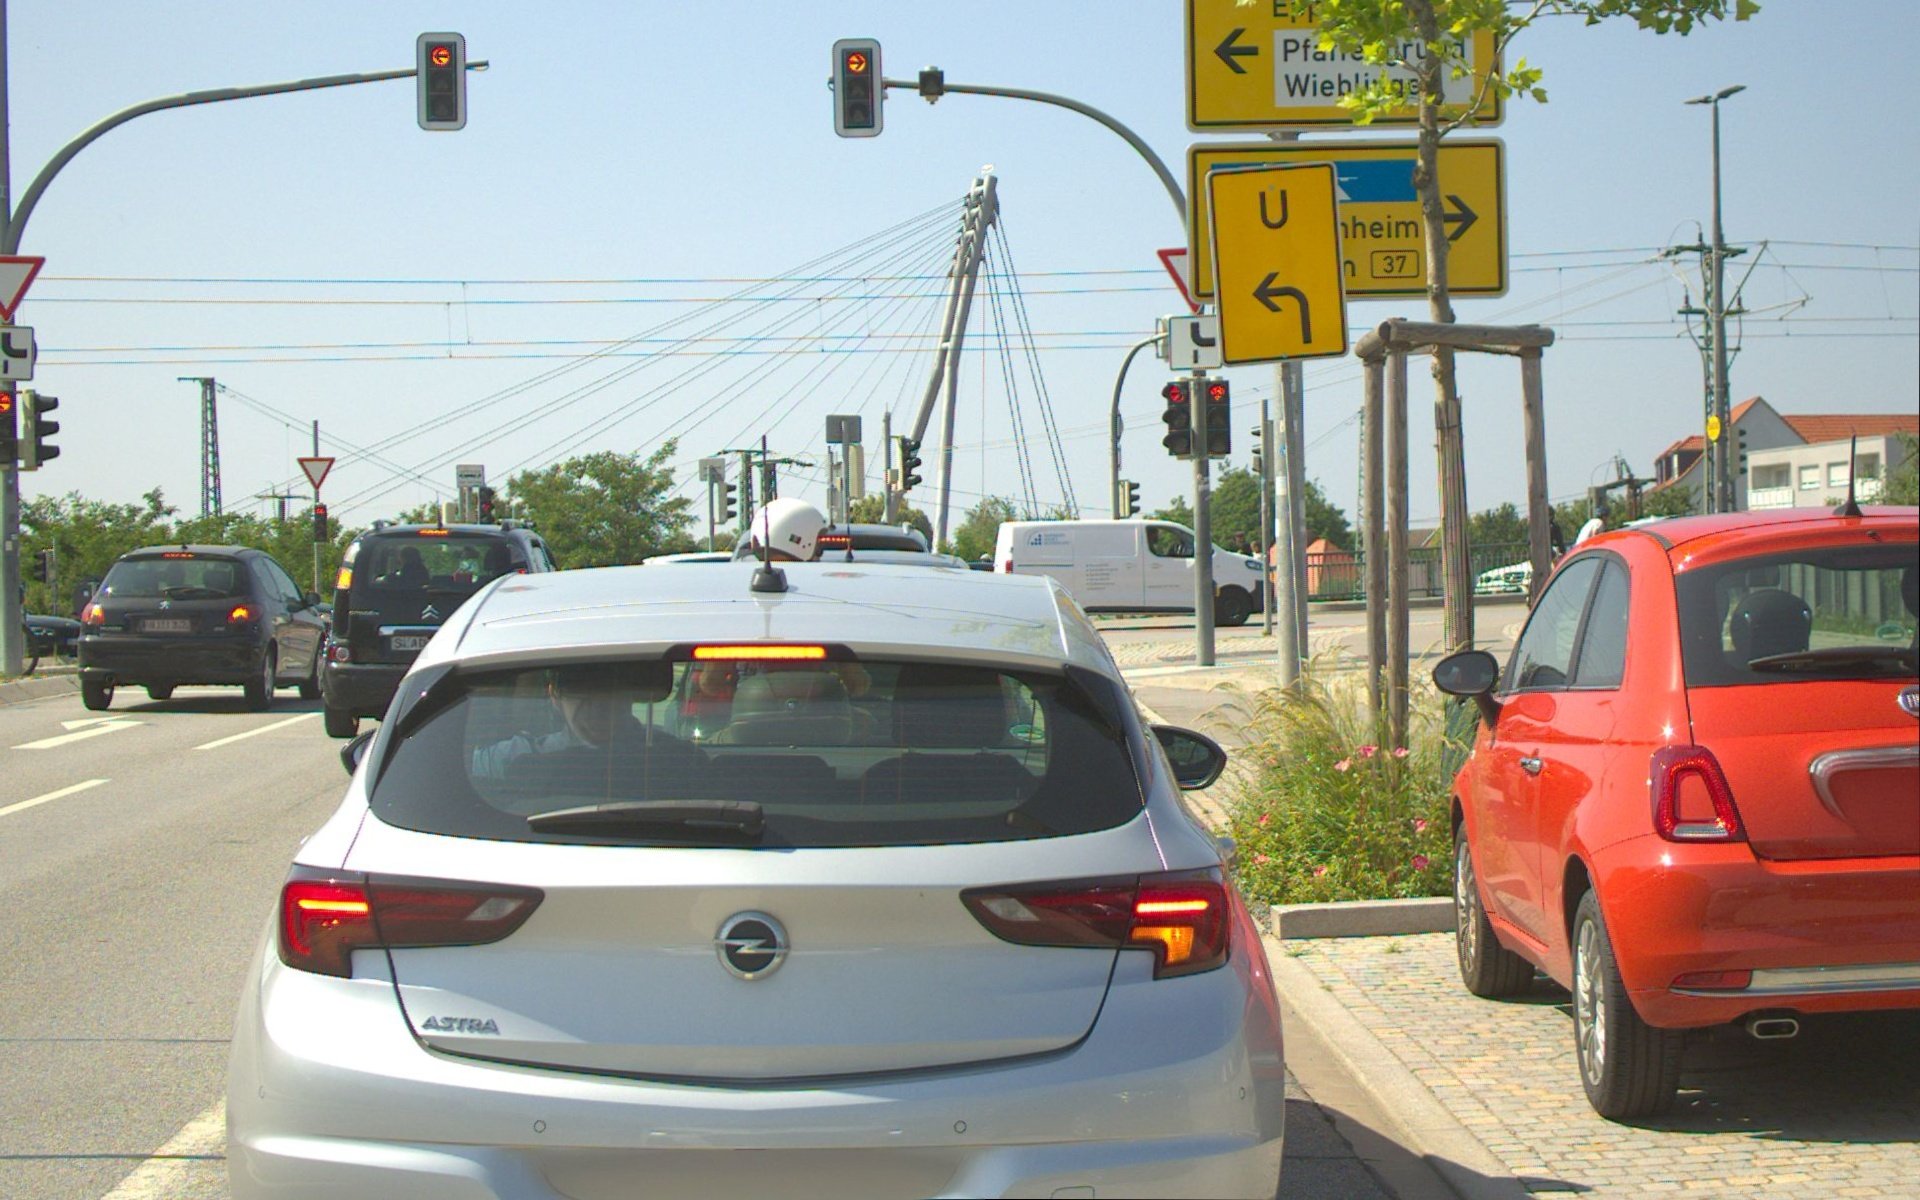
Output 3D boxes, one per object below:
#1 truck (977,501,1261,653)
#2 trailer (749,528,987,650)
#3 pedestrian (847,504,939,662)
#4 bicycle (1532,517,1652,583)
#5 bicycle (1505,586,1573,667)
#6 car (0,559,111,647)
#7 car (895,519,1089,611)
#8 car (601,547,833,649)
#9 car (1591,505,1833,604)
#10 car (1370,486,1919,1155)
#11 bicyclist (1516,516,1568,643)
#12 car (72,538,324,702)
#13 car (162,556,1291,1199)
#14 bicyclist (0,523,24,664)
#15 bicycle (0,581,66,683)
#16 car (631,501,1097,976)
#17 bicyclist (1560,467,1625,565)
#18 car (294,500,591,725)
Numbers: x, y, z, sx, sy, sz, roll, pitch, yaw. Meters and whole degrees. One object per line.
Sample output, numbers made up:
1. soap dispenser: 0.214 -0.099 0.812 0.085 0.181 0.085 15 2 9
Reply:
1. truck: 2.752 -0.394 60.088 4.692 2.532 2.000 1 0 -5
2. trailer: -1.631 -0.191 59.713 3.986 2.007 2.000 1 0 -5
3. pedestrian: -0.797 -0.203 40.859 0.740 1.857 0.753 1 0 -45
4. bicycle: 10.614 -0.839 57.748 1.866 1.064 0.578 1 0 -9
5. bicycle: 8.712 0.395 51.689 0.554 1.174 2.085 2 1 21
6. car: -18.235 0.037 65.603 3.509 1.635 1.799 1 0 17
7. car: 0.696 -0.789 76.840 3.986 2.007 2.001 0 0 -13
8. car: -4.428 -0.041 63.096 3.987 1.778 2.000 1 0 4
9. car: 14.200 -0.841 64.984 4.032 1.808 1.932 0 0 -15
10. car: 2.331 0.455 10.014 1.669 1.534 3.917 -2 1 -1
11. bicyclist: 8.704 -0.302 51.406 0.635 1.881 0.595 1 0 21
12. car: -6.788 0.167 30.908 1.587 1.390 3.340 0 0 -1
13. car: -0.396 0.668 7.298 1.690 1.514 4.271 0 1 -1
14. bicyclist: -11.060 -0.084 38.529 0.945 1.563 0.823 1 0 -6
15. bicycle: -11.276 0.339 38.493 2.357 1.123 0.677 1 0 -7
16. car: -0.386 0.494 14.207 1.634 1.668 3.745 1 0 -1
17. bicyclist: 10.622 -1.406 57.721 0.771 1.604 0.949 1 0 -9
18. car: -3.973 0.086 26.957 1.803 1.616 3.917 1 0 -1
